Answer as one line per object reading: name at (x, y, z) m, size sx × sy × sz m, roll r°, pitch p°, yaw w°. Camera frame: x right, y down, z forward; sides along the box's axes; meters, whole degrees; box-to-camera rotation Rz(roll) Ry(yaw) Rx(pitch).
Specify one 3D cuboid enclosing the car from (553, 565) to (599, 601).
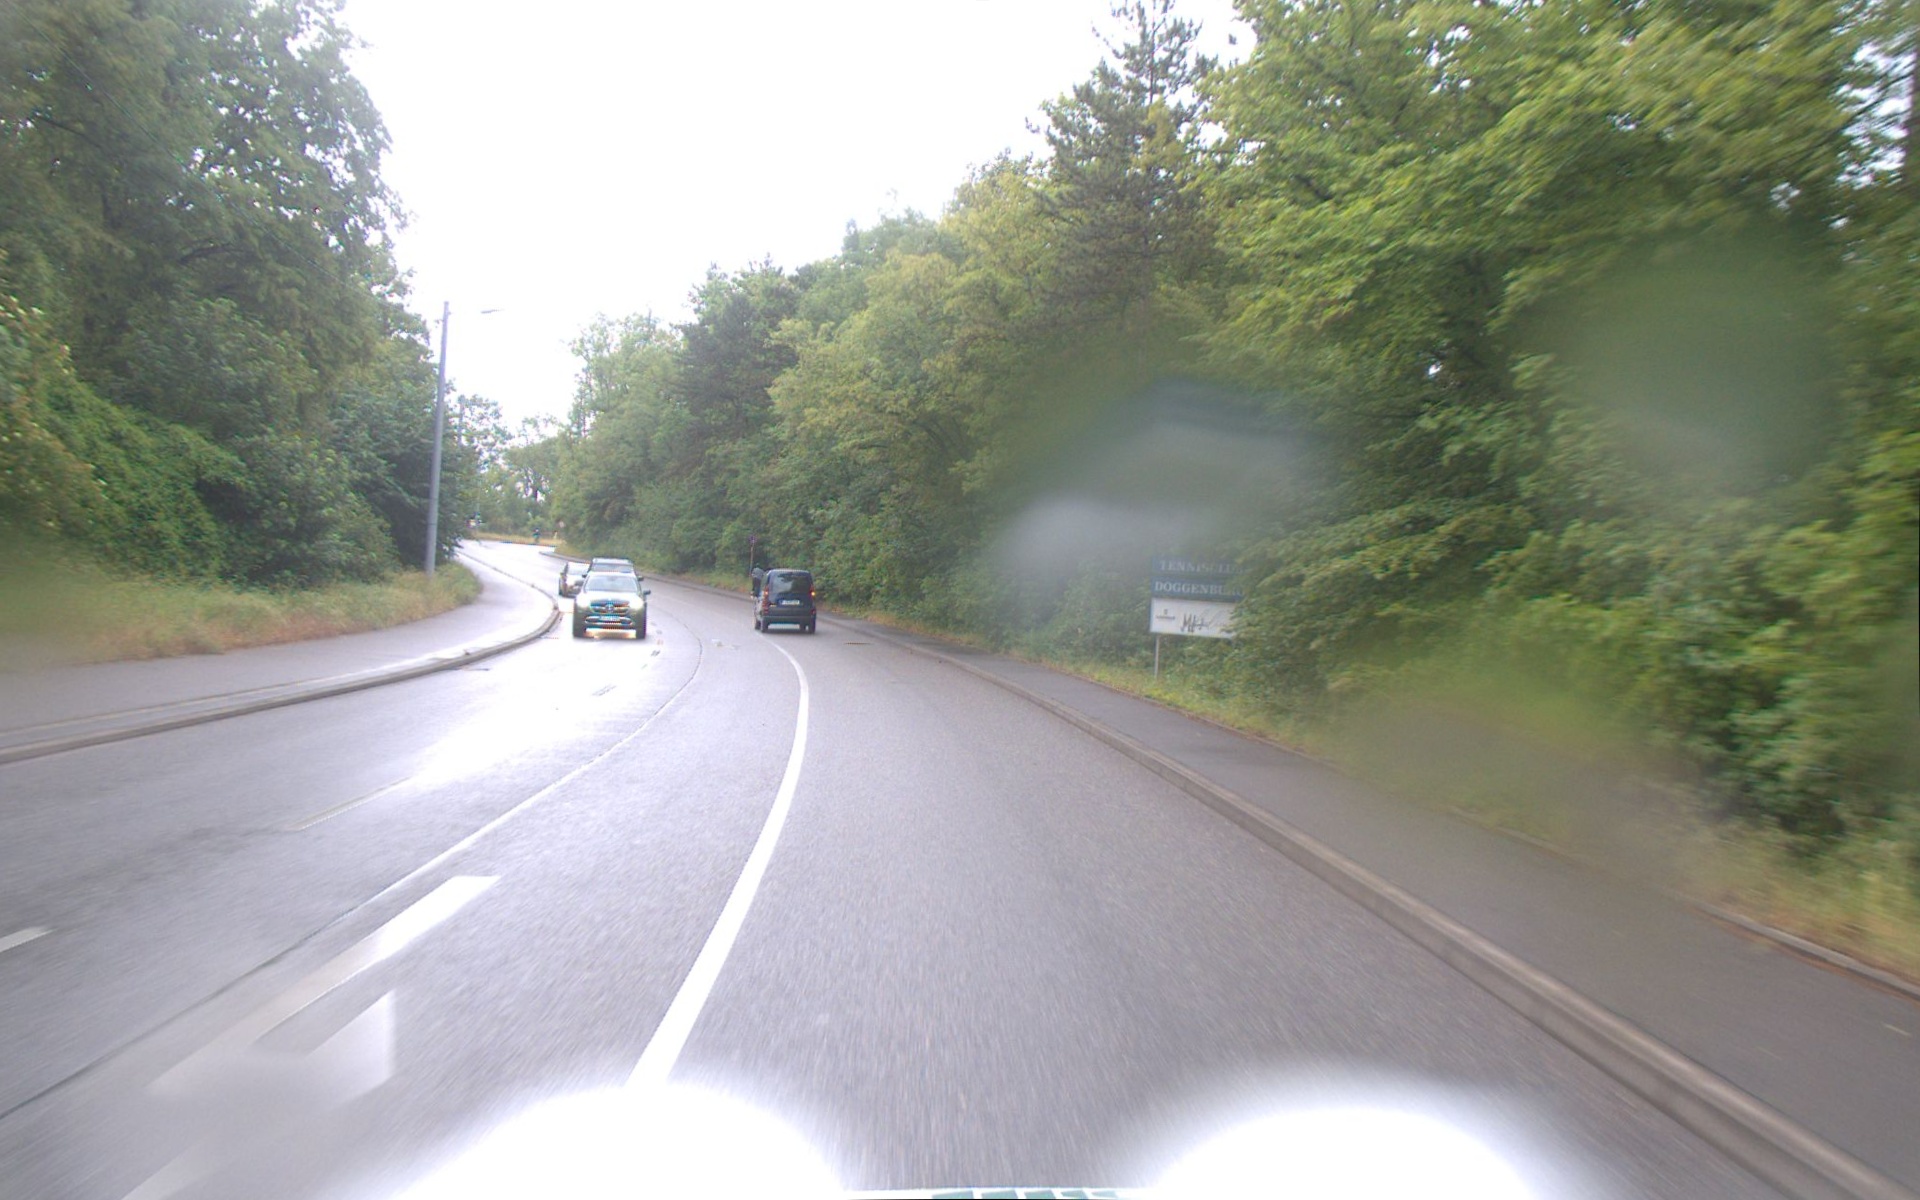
car at (-17.034, -0.749, 73.263) m, size 1.797 × 1.465 × 3.983 m, roll 2°, pitch 0°, yaw -16°

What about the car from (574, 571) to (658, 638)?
car at (-9.106, 0.093, 44.033) m, size 1.774 × 1.622 × 4.511 m, roll 2°, pitch 0°, yaw -7°

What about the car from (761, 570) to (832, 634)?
car at (-4.968, 0.028, 49.788) m, size 1.794 × 1.825 × 3.990 m, roll 1°, pitch 1°, yaw -10°
